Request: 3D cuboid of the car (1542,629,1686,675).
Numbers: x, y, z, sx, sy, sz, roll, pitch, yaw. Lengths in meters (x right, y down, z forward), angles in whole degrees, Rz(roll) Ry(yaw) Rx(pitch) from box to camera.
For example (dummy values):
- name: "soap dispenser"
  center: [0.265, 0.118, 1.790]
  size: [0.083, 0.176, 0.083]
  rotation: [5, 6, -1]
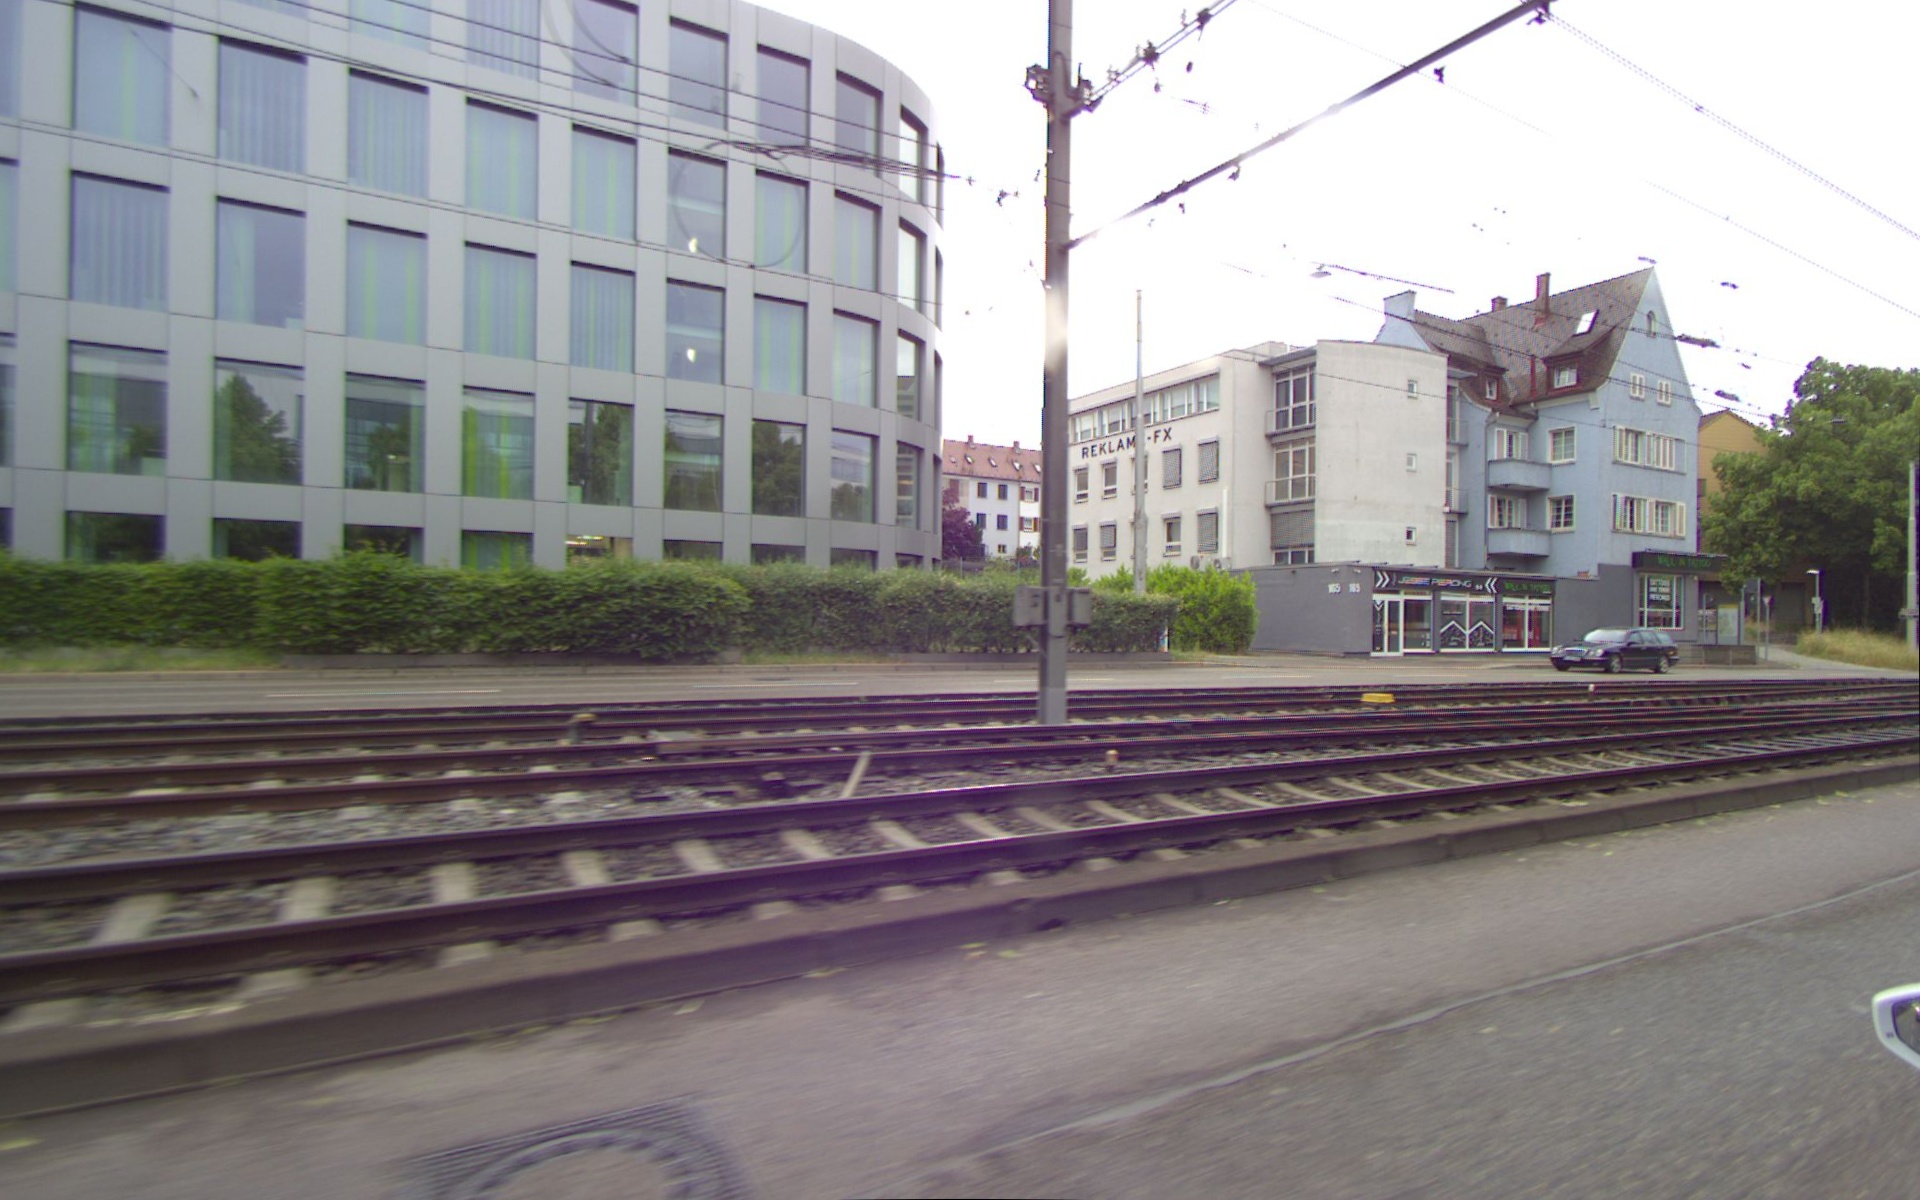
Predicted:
- name: "car"
  center: [21.101, 1.693, 32.385]
  size: [4.767, 1.342, 1.894]
  rotation: [3, -1, -29]
